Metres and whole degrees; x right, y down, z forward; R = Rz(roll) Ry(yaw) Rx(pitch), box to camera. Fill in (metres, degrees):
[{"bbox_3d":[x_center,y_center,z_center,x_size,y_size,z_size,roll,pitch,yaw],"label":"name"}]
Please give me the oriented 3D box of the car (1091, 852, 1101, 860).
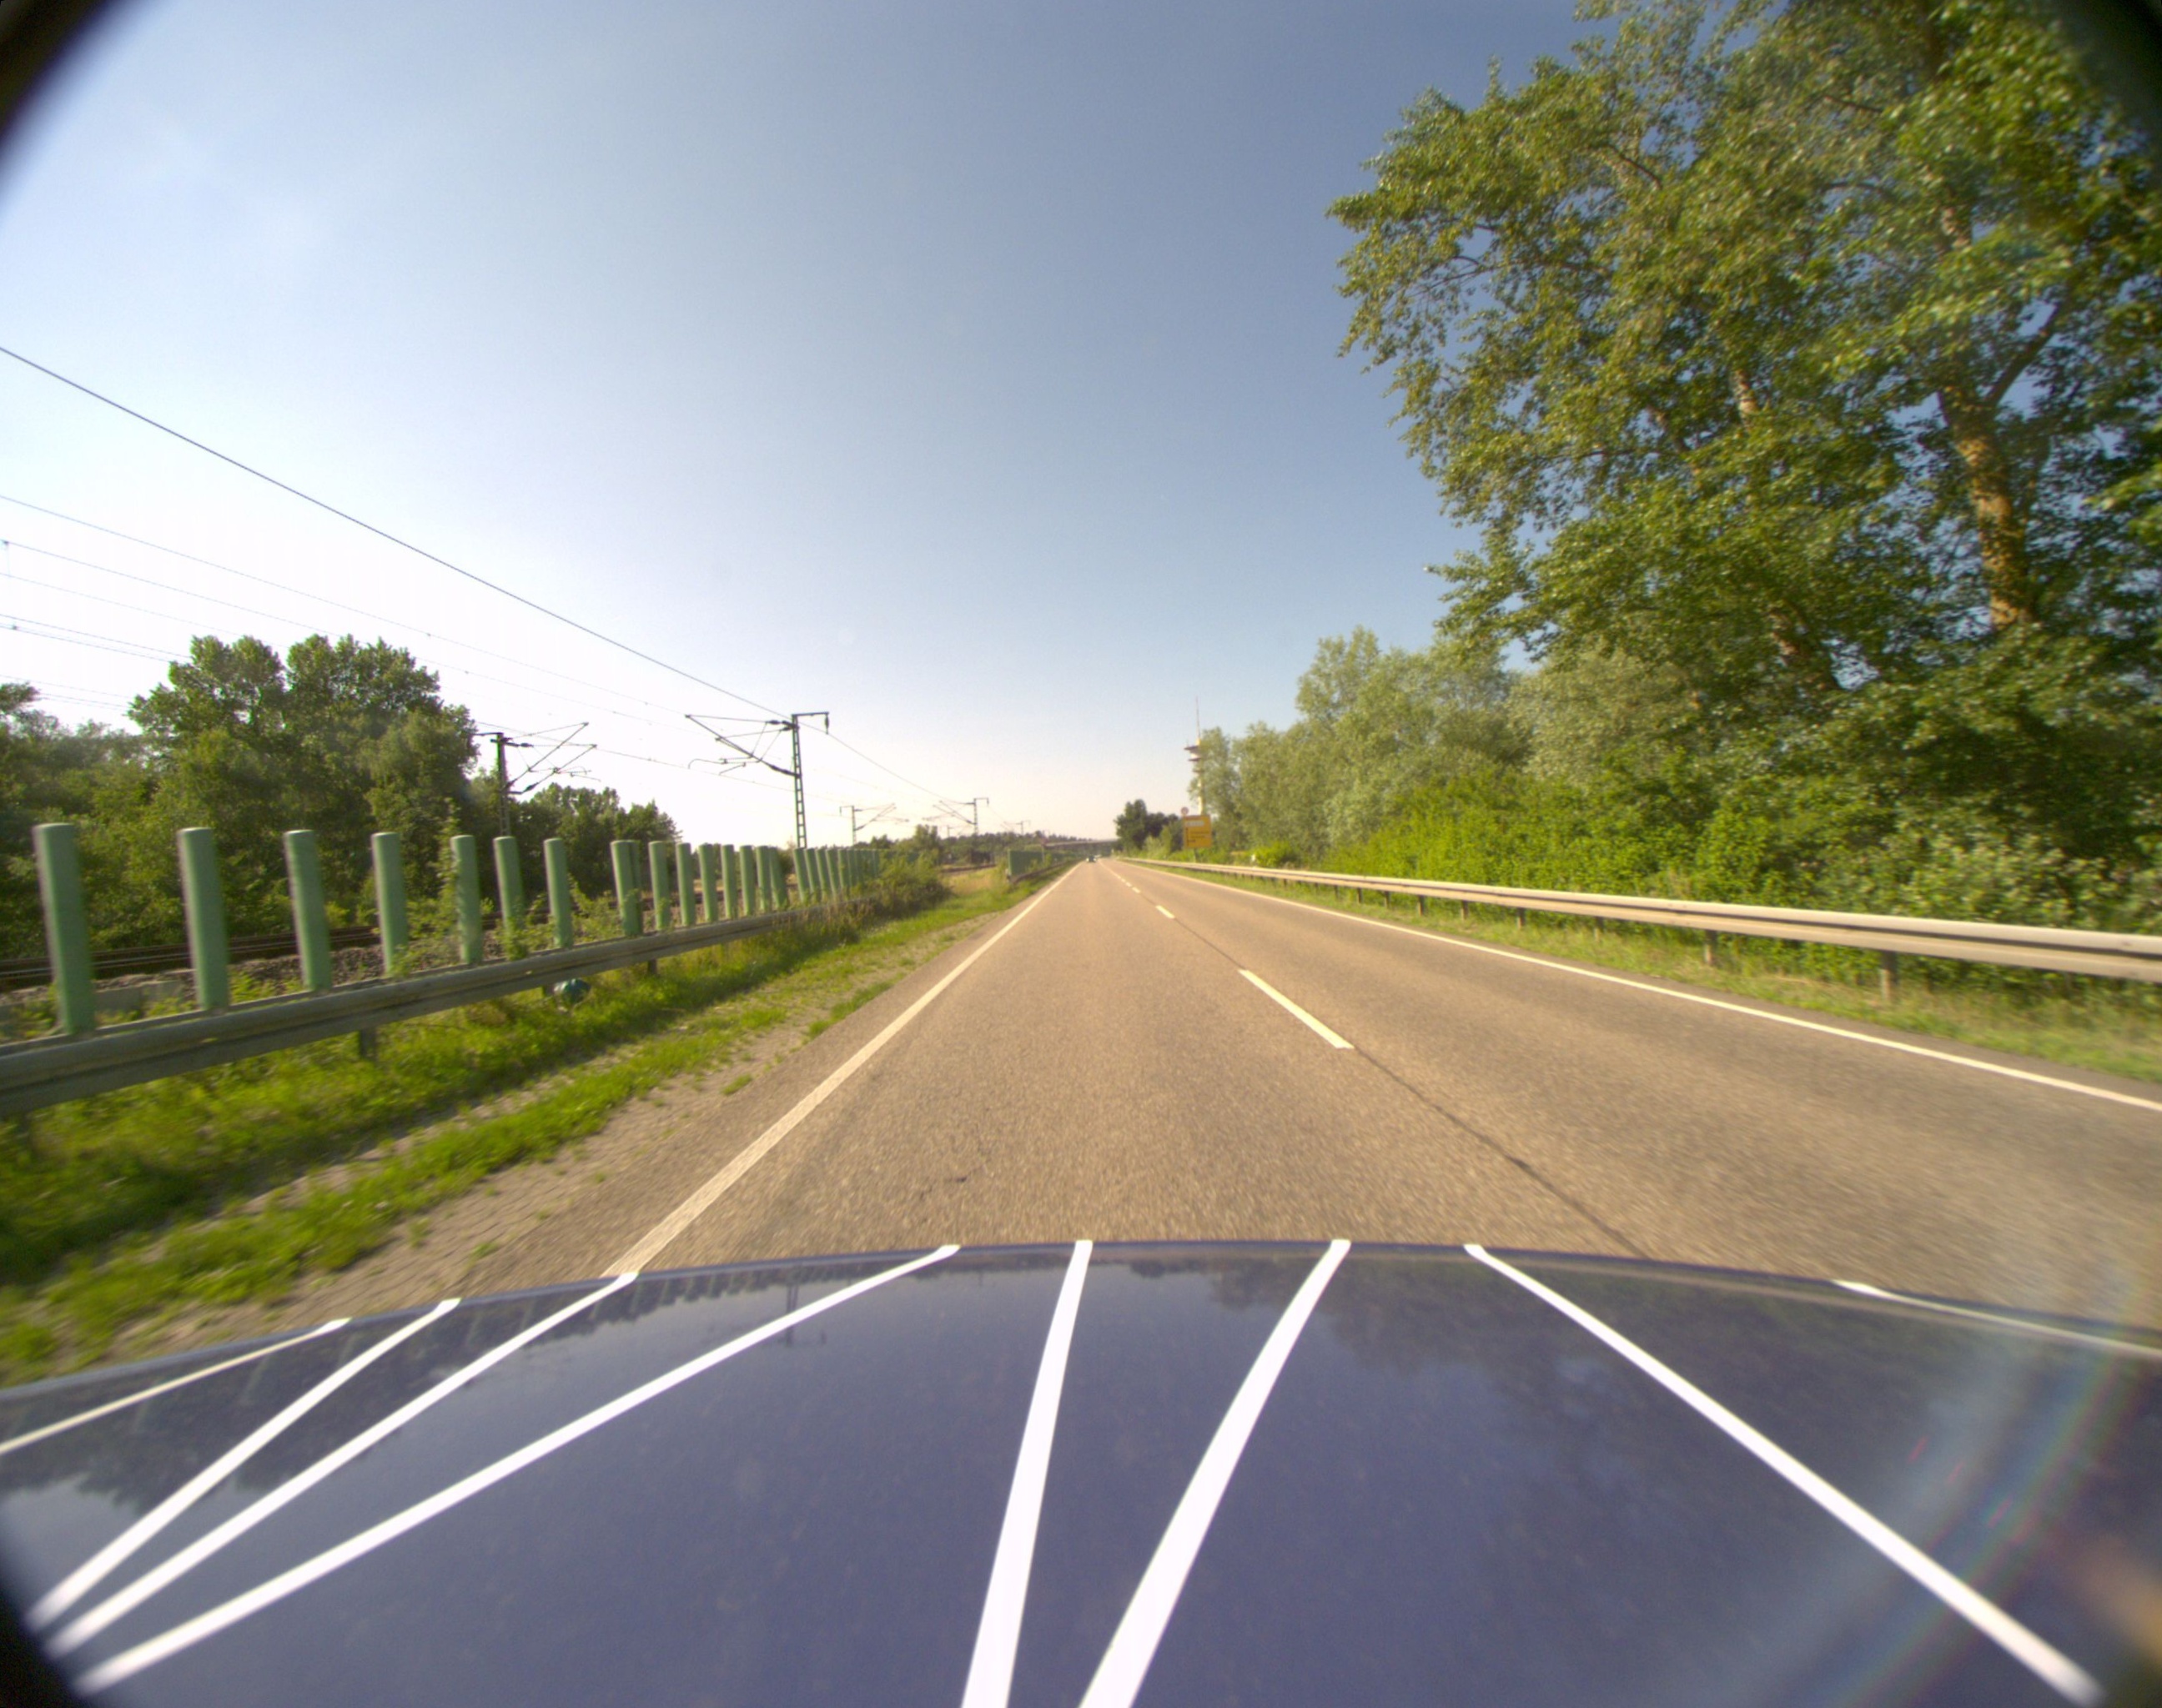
[{"bbox_3d":[2.913,0.428,148.976,1.868,1.533,4.076,-1,0,2],"label":"car"}]
